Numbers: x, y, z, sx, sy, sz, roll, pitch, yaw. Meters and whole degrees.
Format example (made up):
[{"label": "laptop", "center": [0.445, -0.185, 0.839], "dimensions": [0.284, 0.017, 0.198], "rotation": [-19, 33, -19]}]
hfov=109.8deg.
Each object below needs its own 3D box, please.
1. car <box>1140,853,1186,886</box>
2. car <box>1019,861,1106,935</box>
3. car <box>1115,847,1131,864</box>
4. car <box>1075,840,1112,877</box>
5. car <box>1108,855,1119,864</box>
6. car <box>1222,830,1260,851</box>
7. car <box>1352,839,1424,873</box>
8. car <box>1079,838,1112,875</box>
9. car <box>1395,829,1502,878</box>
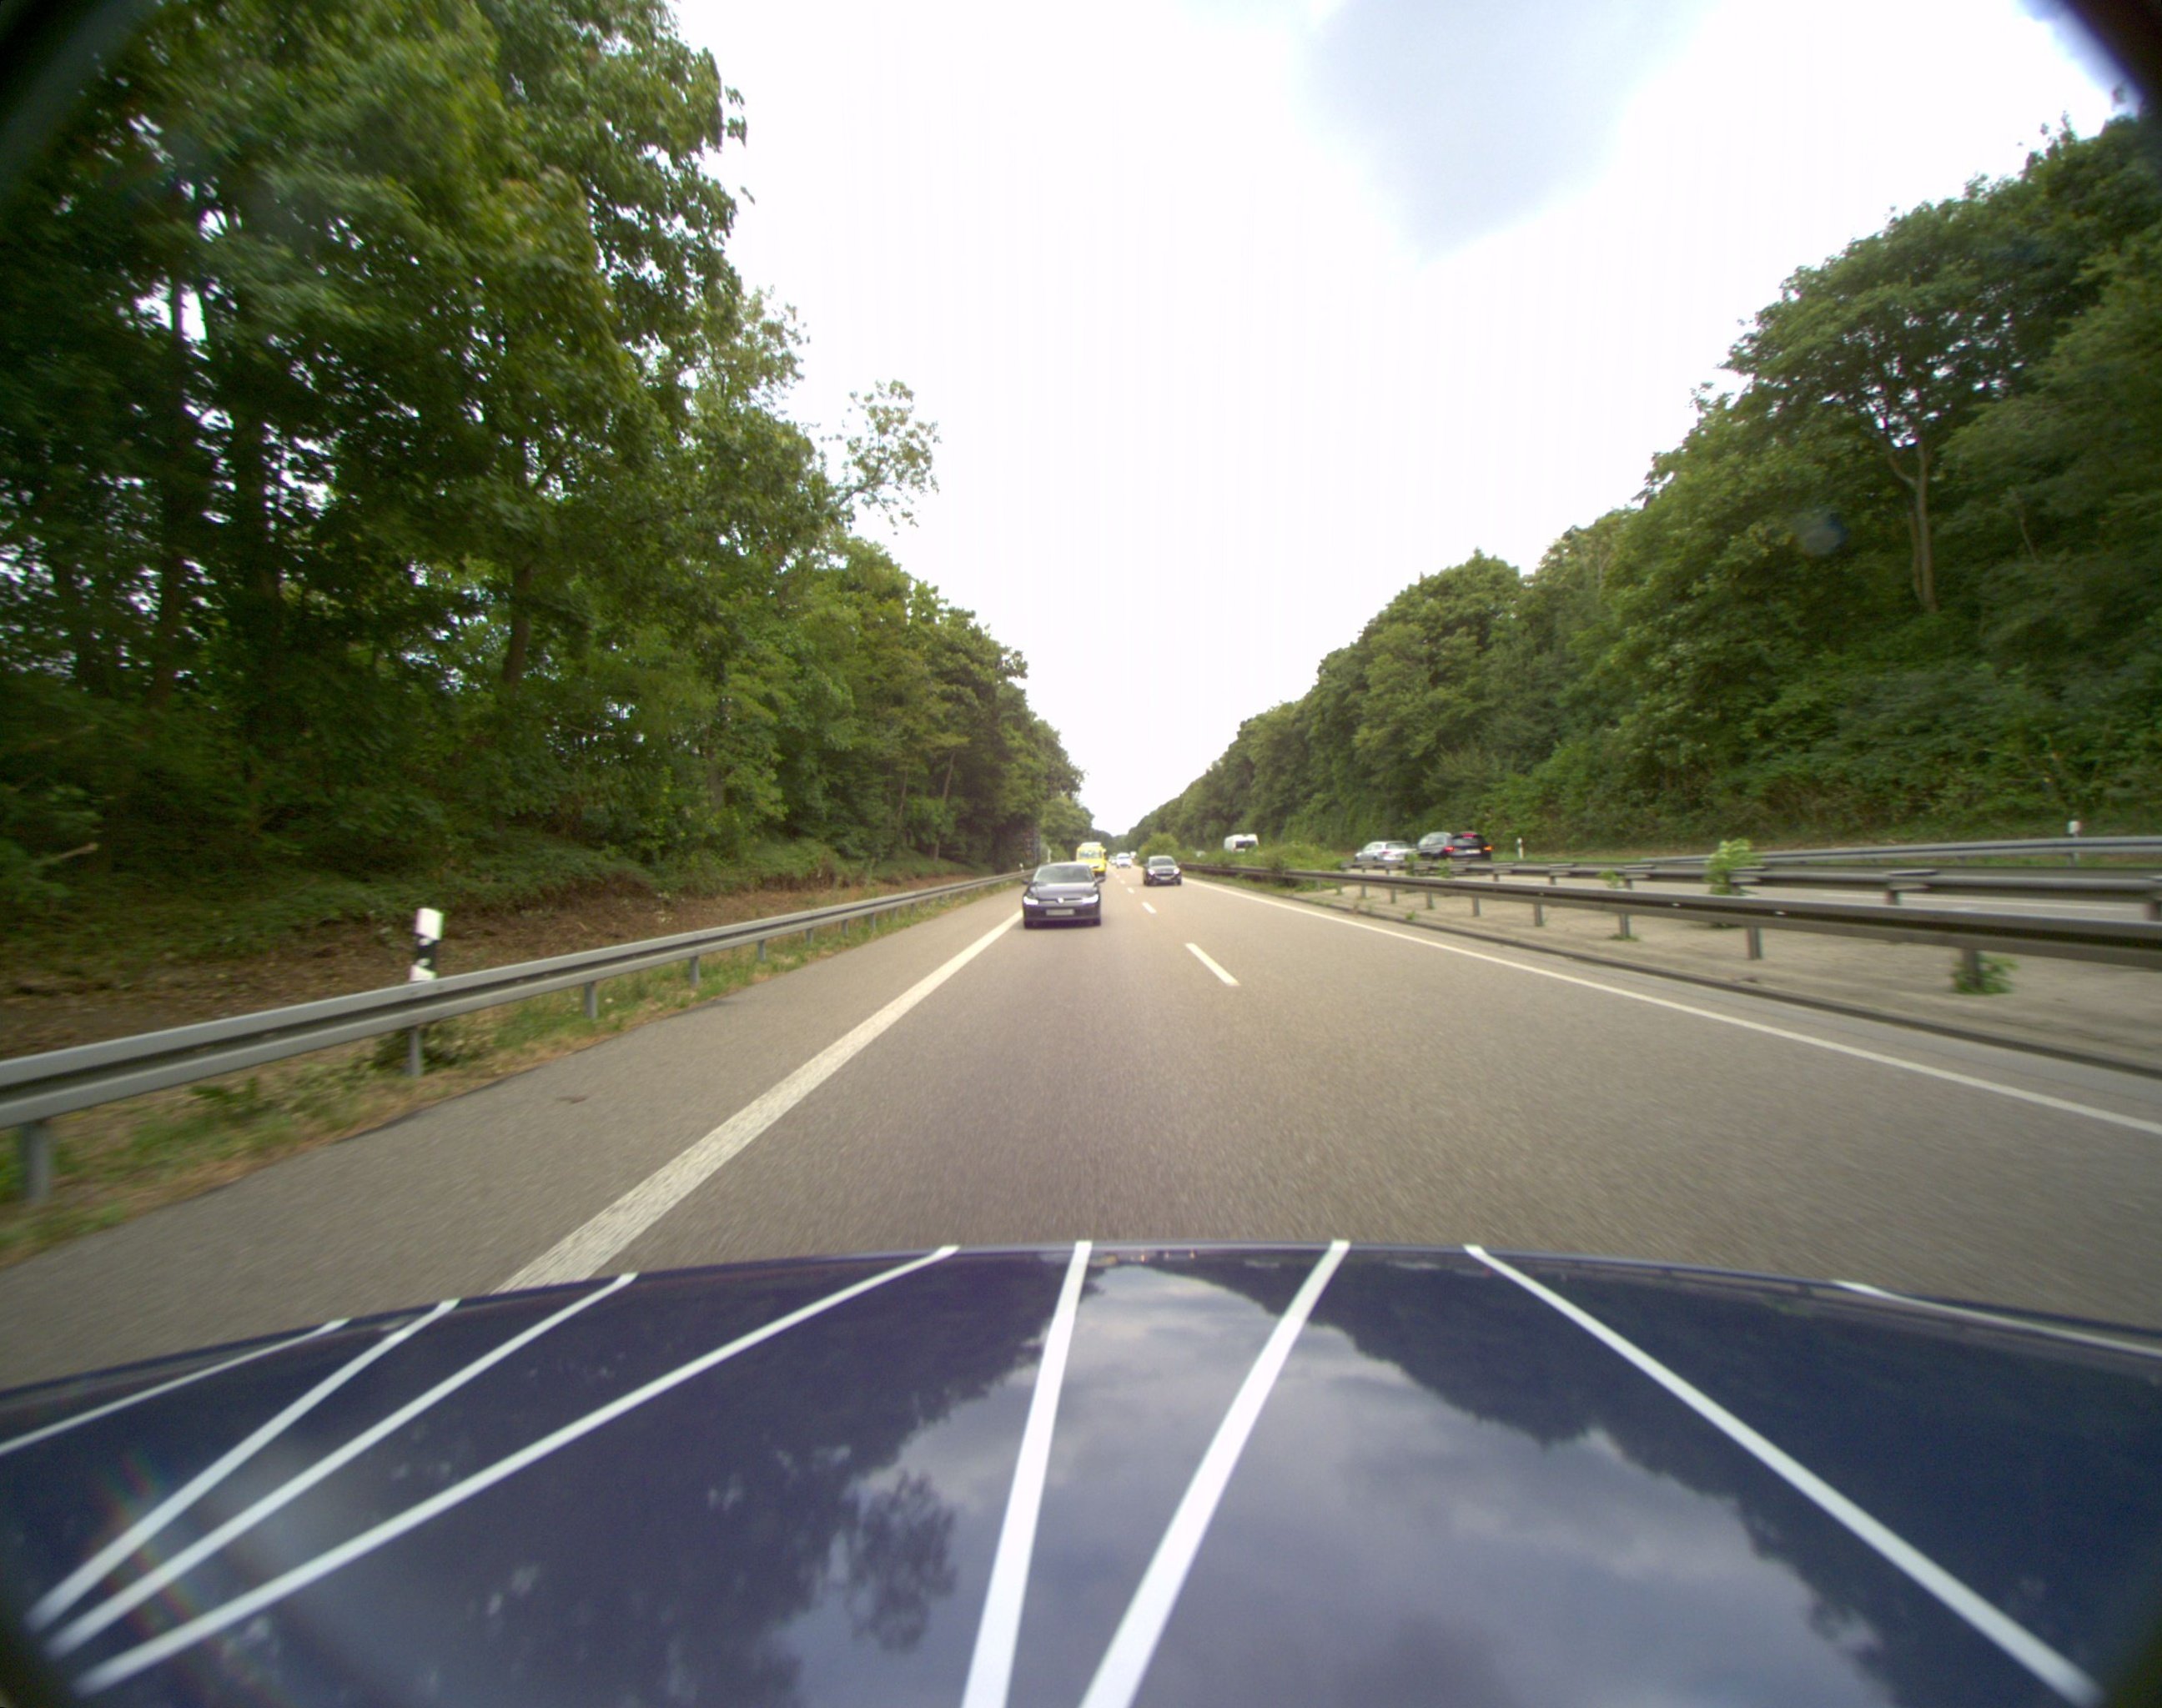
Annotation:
[{"label": "car", "center": [4.095, 0.751, 38.640], "dimensions": [1.831, 1.449, 4.639], "rotation": [-2, 1, 1]}, {"label": "car", "center": [-0.394, 0.961, 18.397], "dimensions": [1.801, 1.398, 4.638], "rotation": [-2, 1, 0]}, {"label": "car", "center": [5.417, 0.183, 97.952], "dimensions": [1.821, 1.993, 4.423], "rotation": [-2, 1, 2]}, {"label": "car", "center": [0.794, 0.261, 52.772], "dimensions": [2.248, 2.334, 5.222], "rotation": [-2, 1, -2]}, {"label": "car", "center": [5.608, 0.991, 131.783], "dimensions": [1.772, 1.416, 4.197], "rotation": [-2, 1, 0]}, {"label": "car", "center": [13.283, -1.098, 63.272], "dimensions": [2.193, 1.642, 4.639], "rotation": [-2, 1, 1]}, {"label": "car", "center": [16.029, 0.077, 39.968], "dimensions": [1.898, 1.642, 4.639], "rotation": [-2, 1, 1]}, {"label": "car", "center": [1.095, 0.185, 61.341], "dimensions": [2.208, 2.732, 6.165], "rotation": [-2, 1, -2]}, {"label": "car", "center": [14.007, -0.045, 29.279], "dimensions": [1.898, 1.642, 4.639], "rotation": [-2, 1, 1]}]
